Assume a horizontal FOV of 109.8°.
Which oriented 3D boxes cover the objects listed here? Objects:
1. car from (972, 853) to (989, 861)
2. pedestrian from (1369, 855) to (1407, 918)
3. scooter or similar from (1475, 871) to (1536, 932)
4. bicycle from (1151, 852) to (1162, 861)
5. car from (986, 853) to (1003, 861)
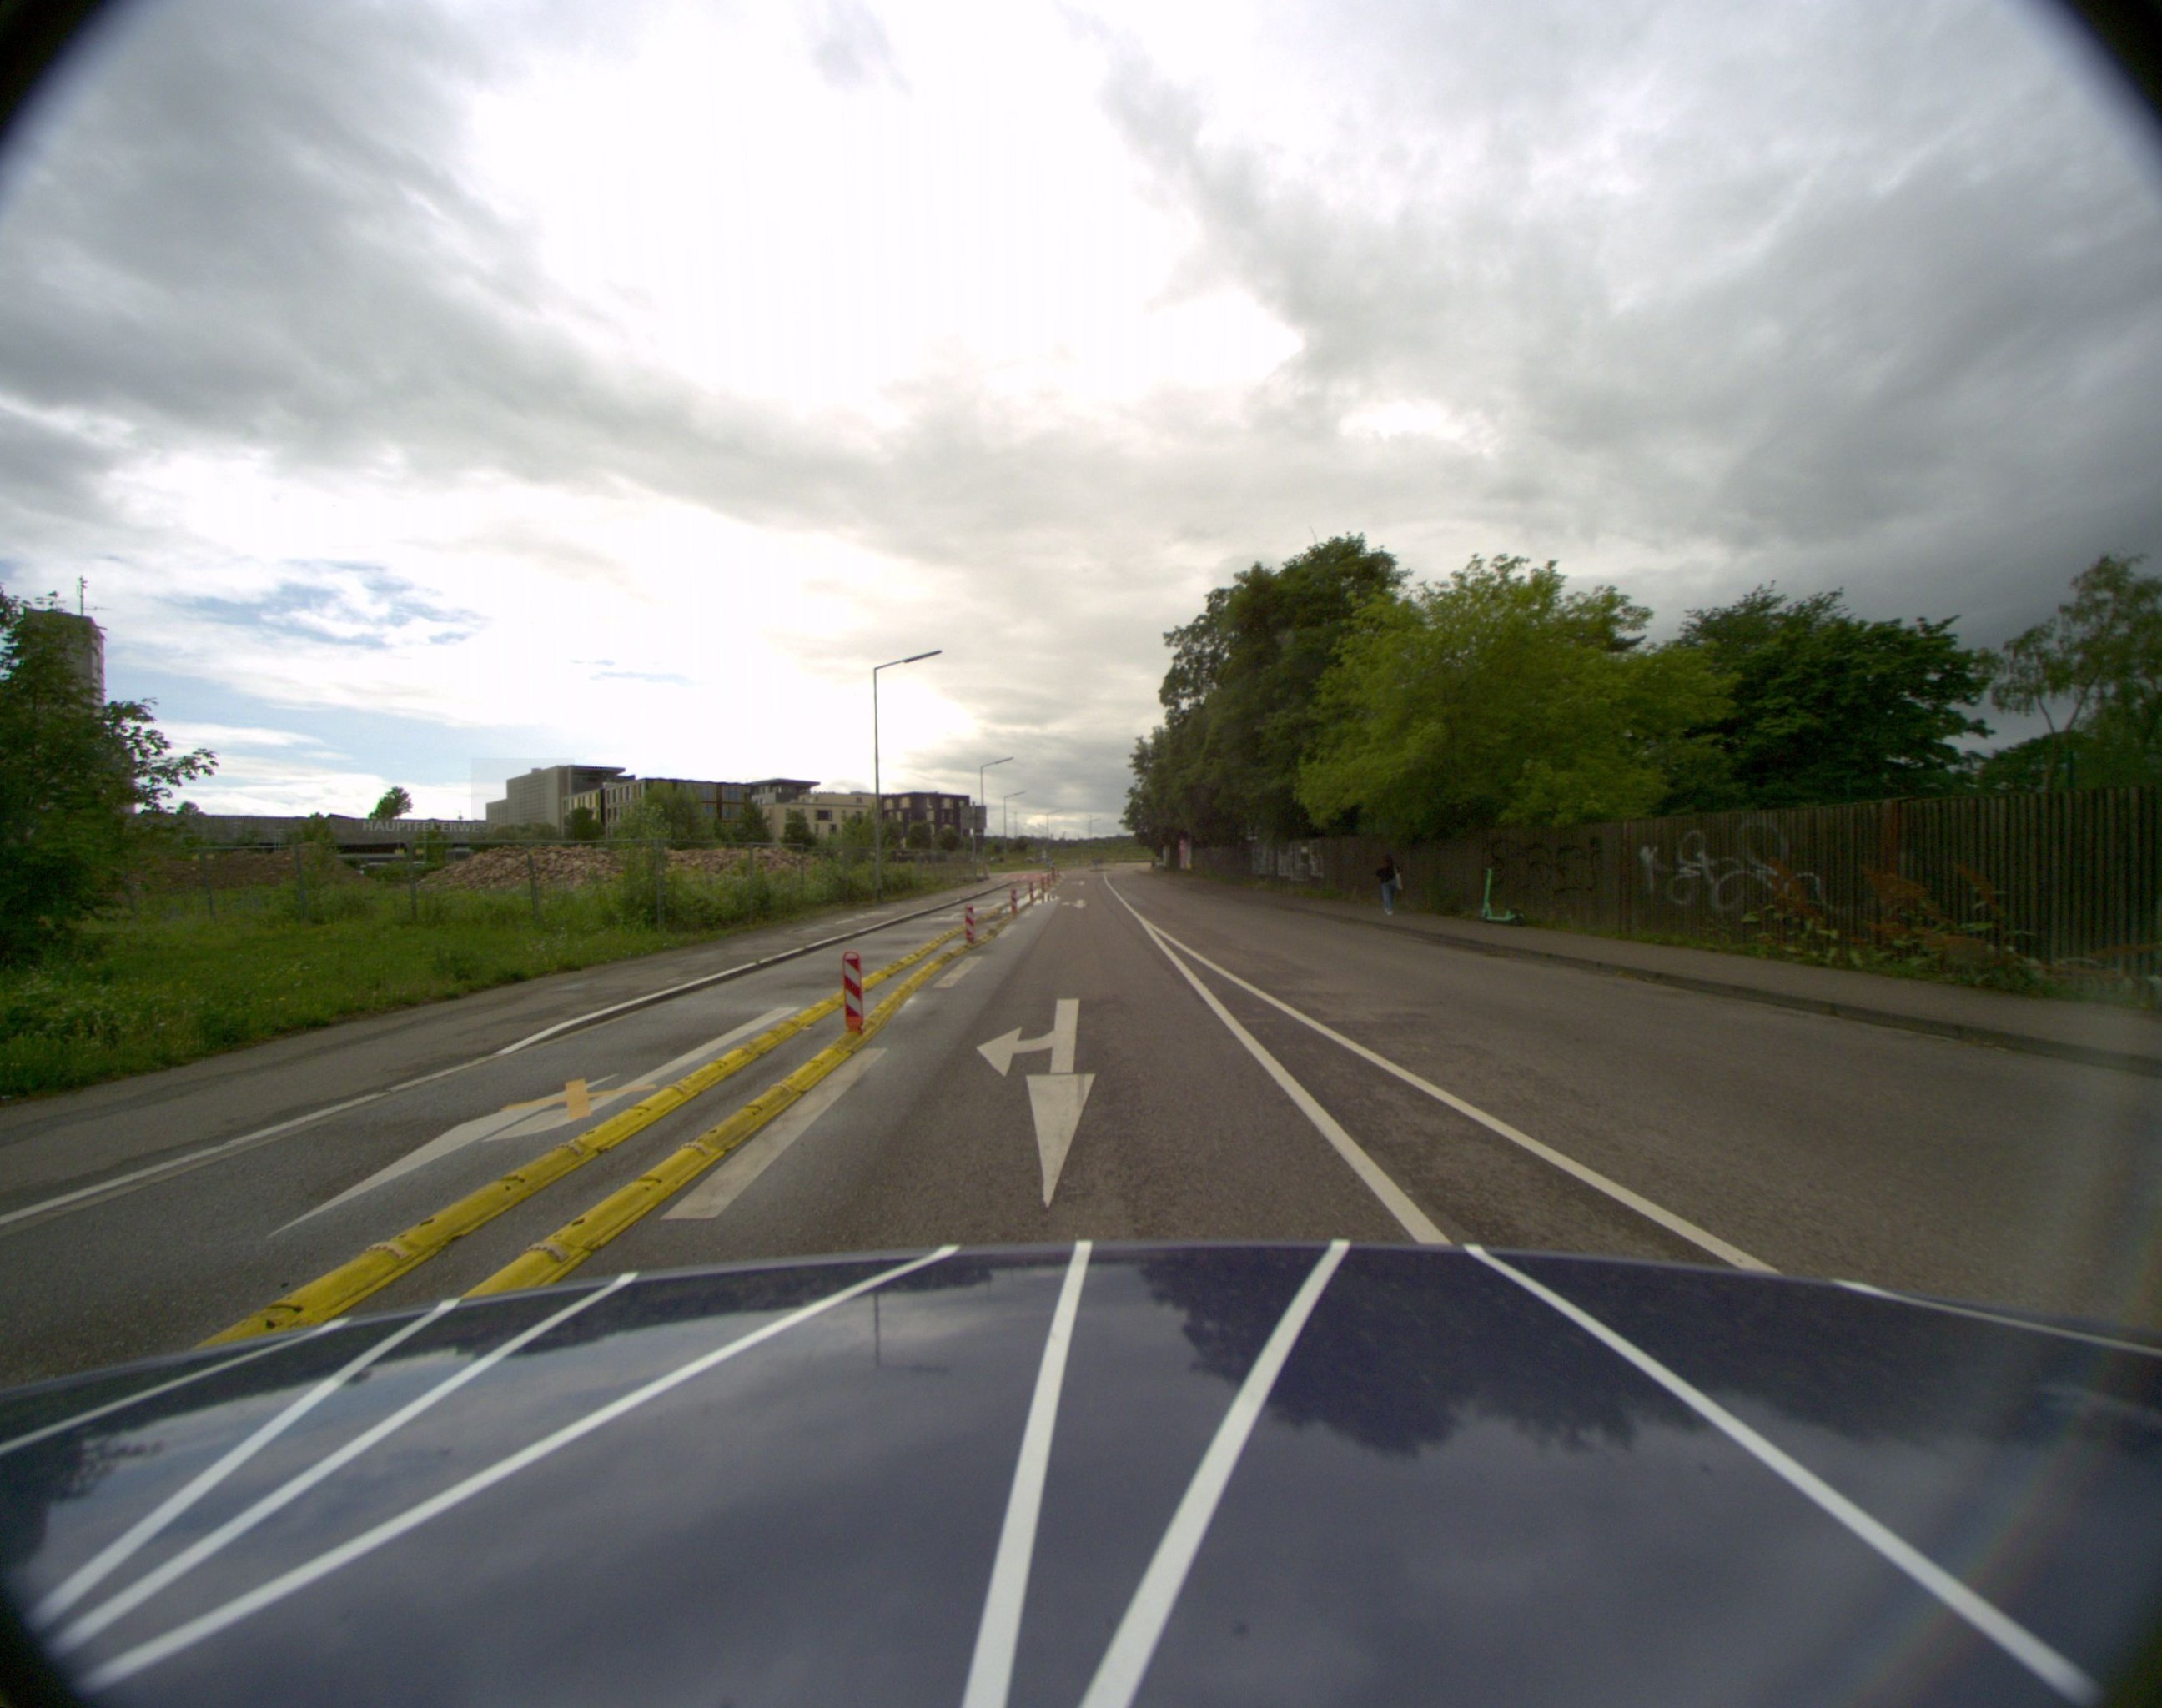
[{"bbox_3d":[-25.734,0.653,195.010,1.994,2.002,4.008,0,0,42],"label":"car"},{"bbox_3d":[7.634,0.795,18.918,0.614,1.520,0.724,-1,1,-4],"label":"pedestrian"},{"bbox_3d":[8.621,0.937,15.458,0.424,1.164,1.303,-1,0,-5],"label":"scooter or similar"},{"bbox_3d":[9.269,0.306,93.377,0.582,0.992,1.773,-3,0,28],"label":"bicycle"},{"bbox_3d":[-21.500,0.647,189.125,1.994,2.002,4.008,0,0,42],"label":"car"}]
